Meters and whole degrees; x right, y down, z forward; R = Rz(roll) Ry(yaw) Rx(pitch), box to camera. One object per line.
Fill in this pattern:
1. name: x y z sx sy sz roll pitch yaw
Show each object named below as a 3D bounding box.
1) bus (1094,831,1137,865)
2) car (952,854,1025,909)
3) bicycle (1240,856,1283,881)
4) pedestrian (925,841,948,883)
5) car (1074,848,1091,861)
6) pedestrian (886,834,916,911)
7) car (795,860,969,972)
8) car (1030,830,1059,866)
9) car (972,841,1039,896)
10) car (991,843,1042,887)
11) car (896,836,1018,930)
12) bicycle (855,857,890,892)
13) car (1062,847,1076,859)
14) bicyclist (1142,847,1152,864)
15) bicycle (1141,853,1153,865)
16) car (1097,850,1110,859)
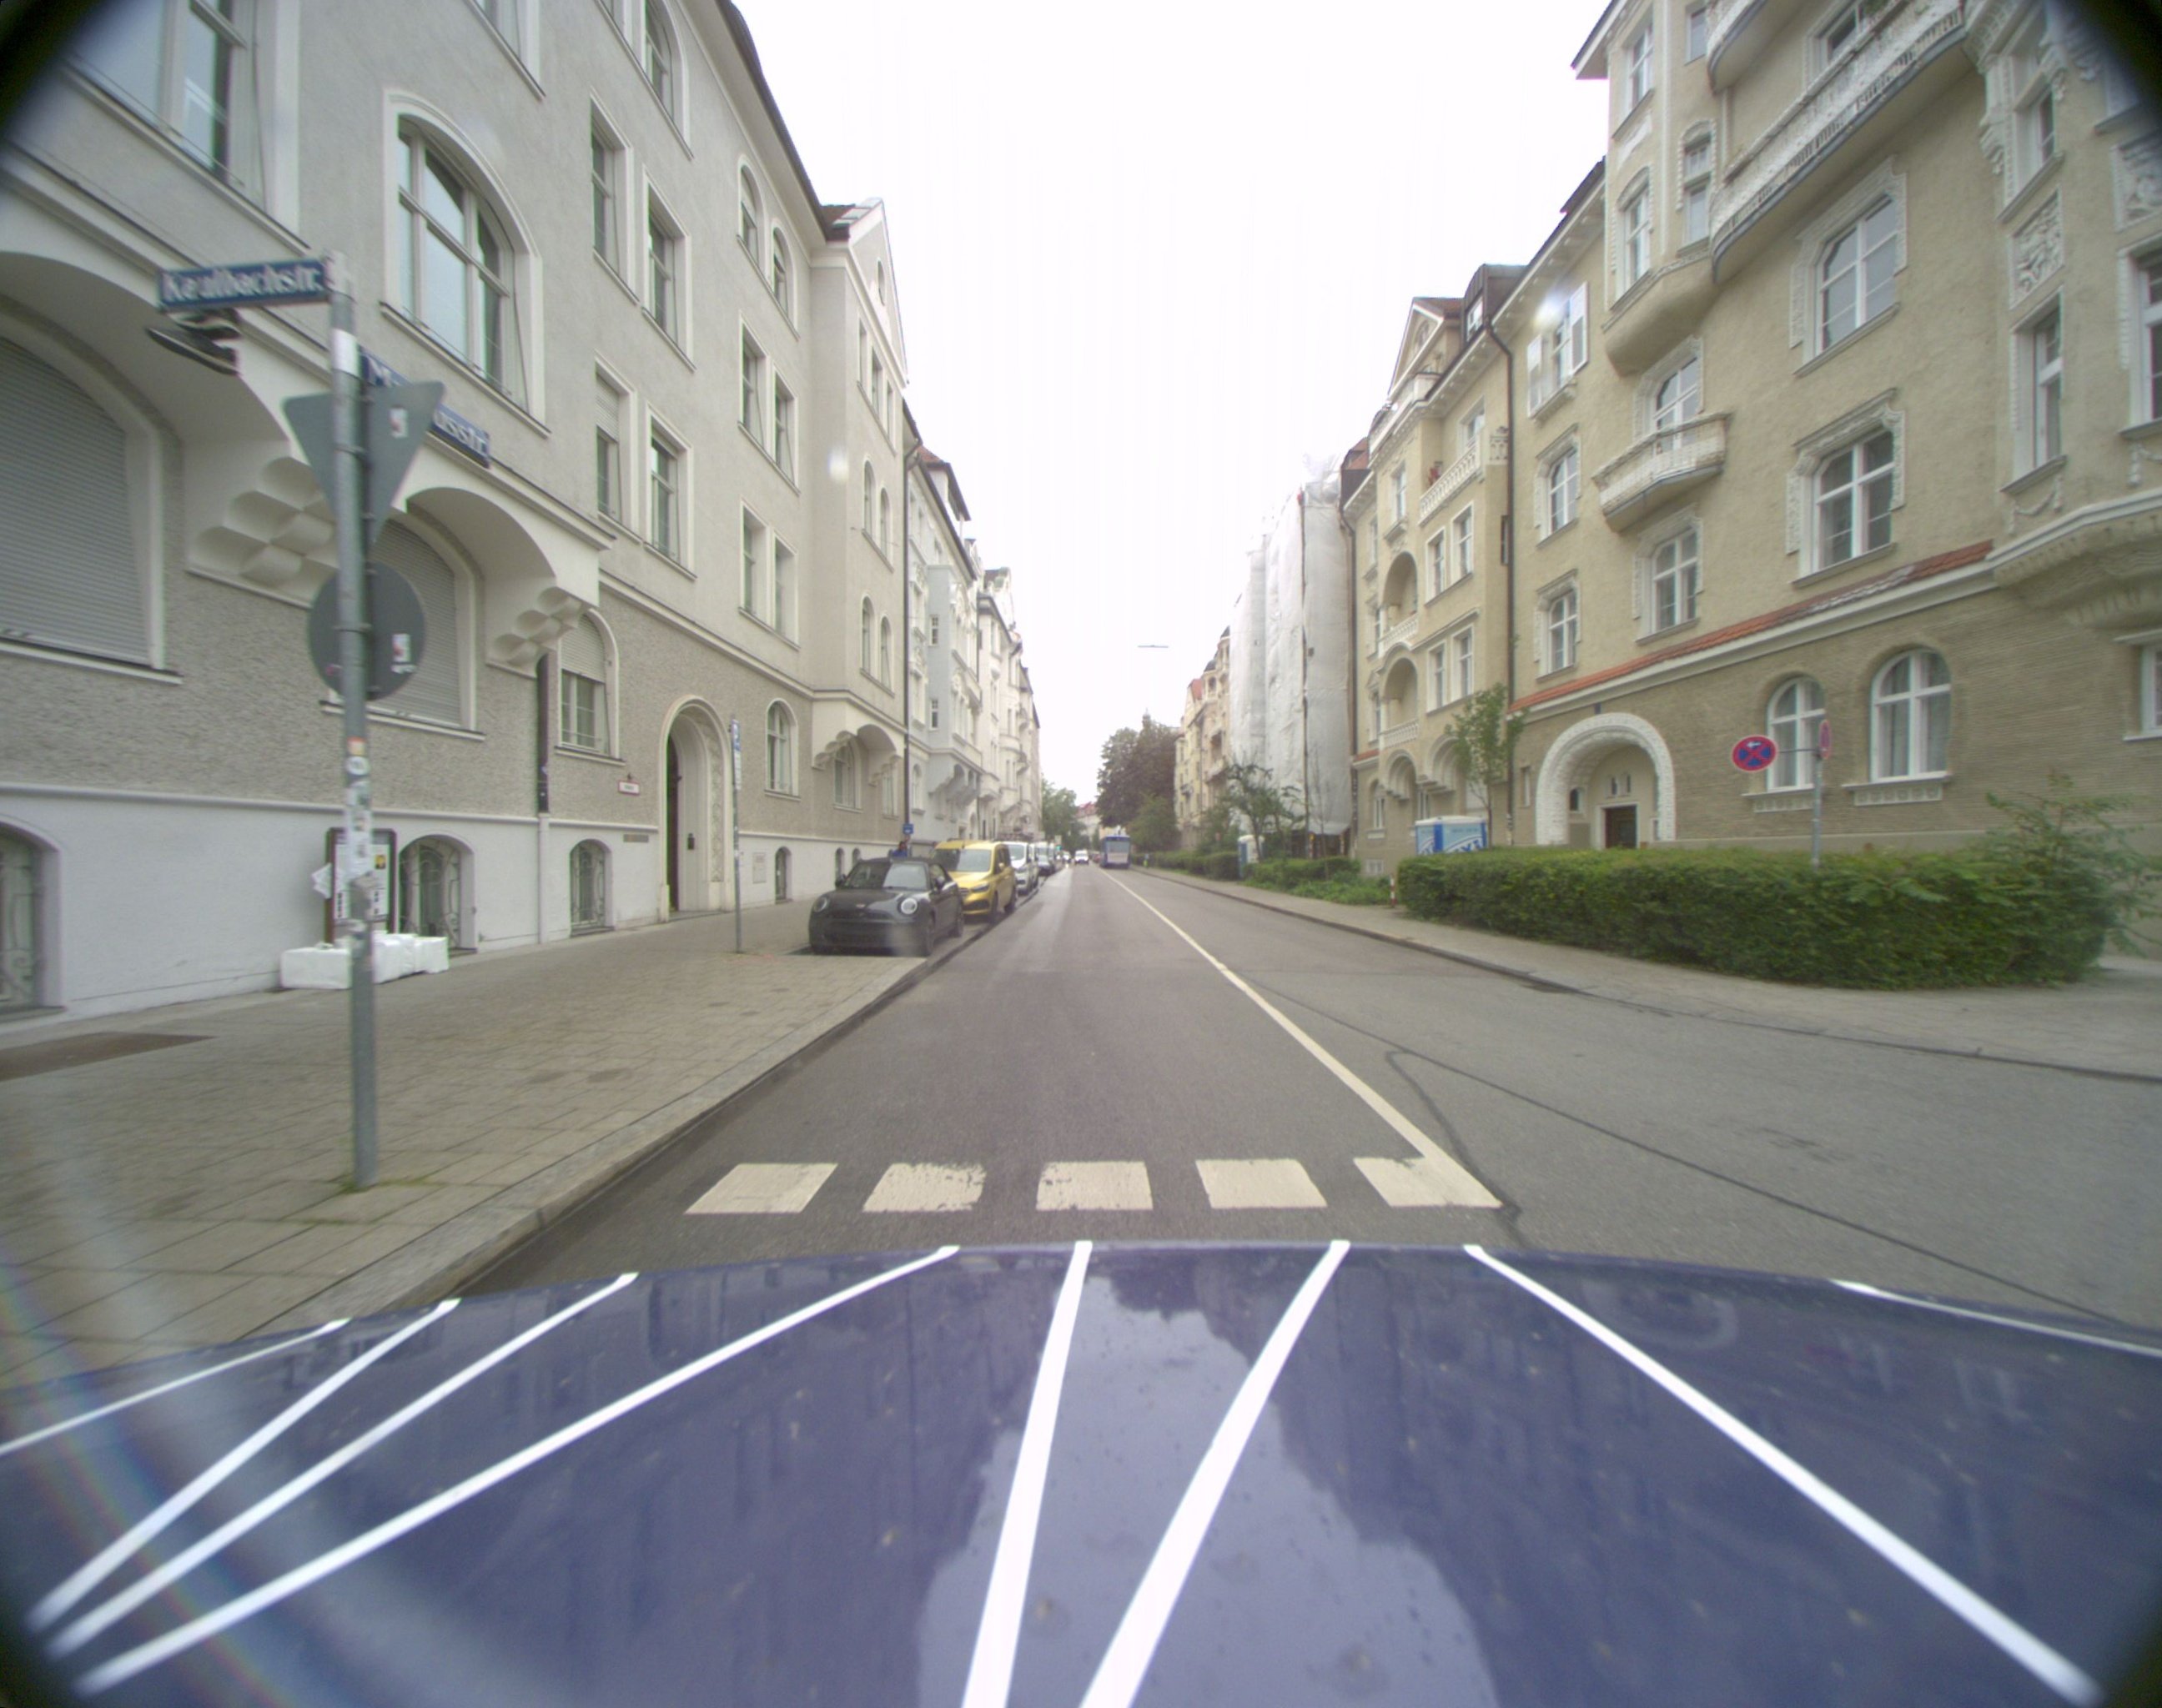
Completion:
1. bus: 3.463 -0.703 82.628 3.180 3.193 18.051 2 1 -2
2. car: -2.718 0.756 23.012 1.637 1.505 3.885 0 0 1
3. bicycle: 8.754 0.706 36.857 1.864 1.071 0.690 -4 1 2
4. pedestrian: -6.550 0.350 34.424 0.853 1.892 0.746 0 1 3
5. car: 0.186 0.024 98.342 1.918 1.648 4.602 0 1 3
6. pedestrian: -4.777 0.483 20.157 0.584 2.002 0.727 0 1 3
7. car: -2.975 0.858 12.172 1.716 1.437 3.827 0 1 1
8. car: -2.830 -0.450 60.094 2.082 2.673 5.444 1 1 -1
9. car: -2.759 0.495 28.799 1.998 1.907 4.885 0 1 0
10. car: -2.898 0.452 35.229 1.999 1.907 4.877 0 1 -1
11. car: -2.697 0.565 17.675 1.998 1.907 4.571 0 1 1
12. bicycle: -6.979 0.668 25.493 0.668 1.126 1.722 0 1 1
13. car: -1.834 -0.160 112.884 1.723 1.622 4.001 0 1 4
14. bicyclist: 5.995 0.104 69.308 0.770 1.484 1.060 -2 1 -2
15. bicycle: 6.011 0.422 69.337 0.770 1.075 2.049 -2 1 -2
16. car: 3.243 0.063 110.763 1.723 1.398 4.001 0 1 4
